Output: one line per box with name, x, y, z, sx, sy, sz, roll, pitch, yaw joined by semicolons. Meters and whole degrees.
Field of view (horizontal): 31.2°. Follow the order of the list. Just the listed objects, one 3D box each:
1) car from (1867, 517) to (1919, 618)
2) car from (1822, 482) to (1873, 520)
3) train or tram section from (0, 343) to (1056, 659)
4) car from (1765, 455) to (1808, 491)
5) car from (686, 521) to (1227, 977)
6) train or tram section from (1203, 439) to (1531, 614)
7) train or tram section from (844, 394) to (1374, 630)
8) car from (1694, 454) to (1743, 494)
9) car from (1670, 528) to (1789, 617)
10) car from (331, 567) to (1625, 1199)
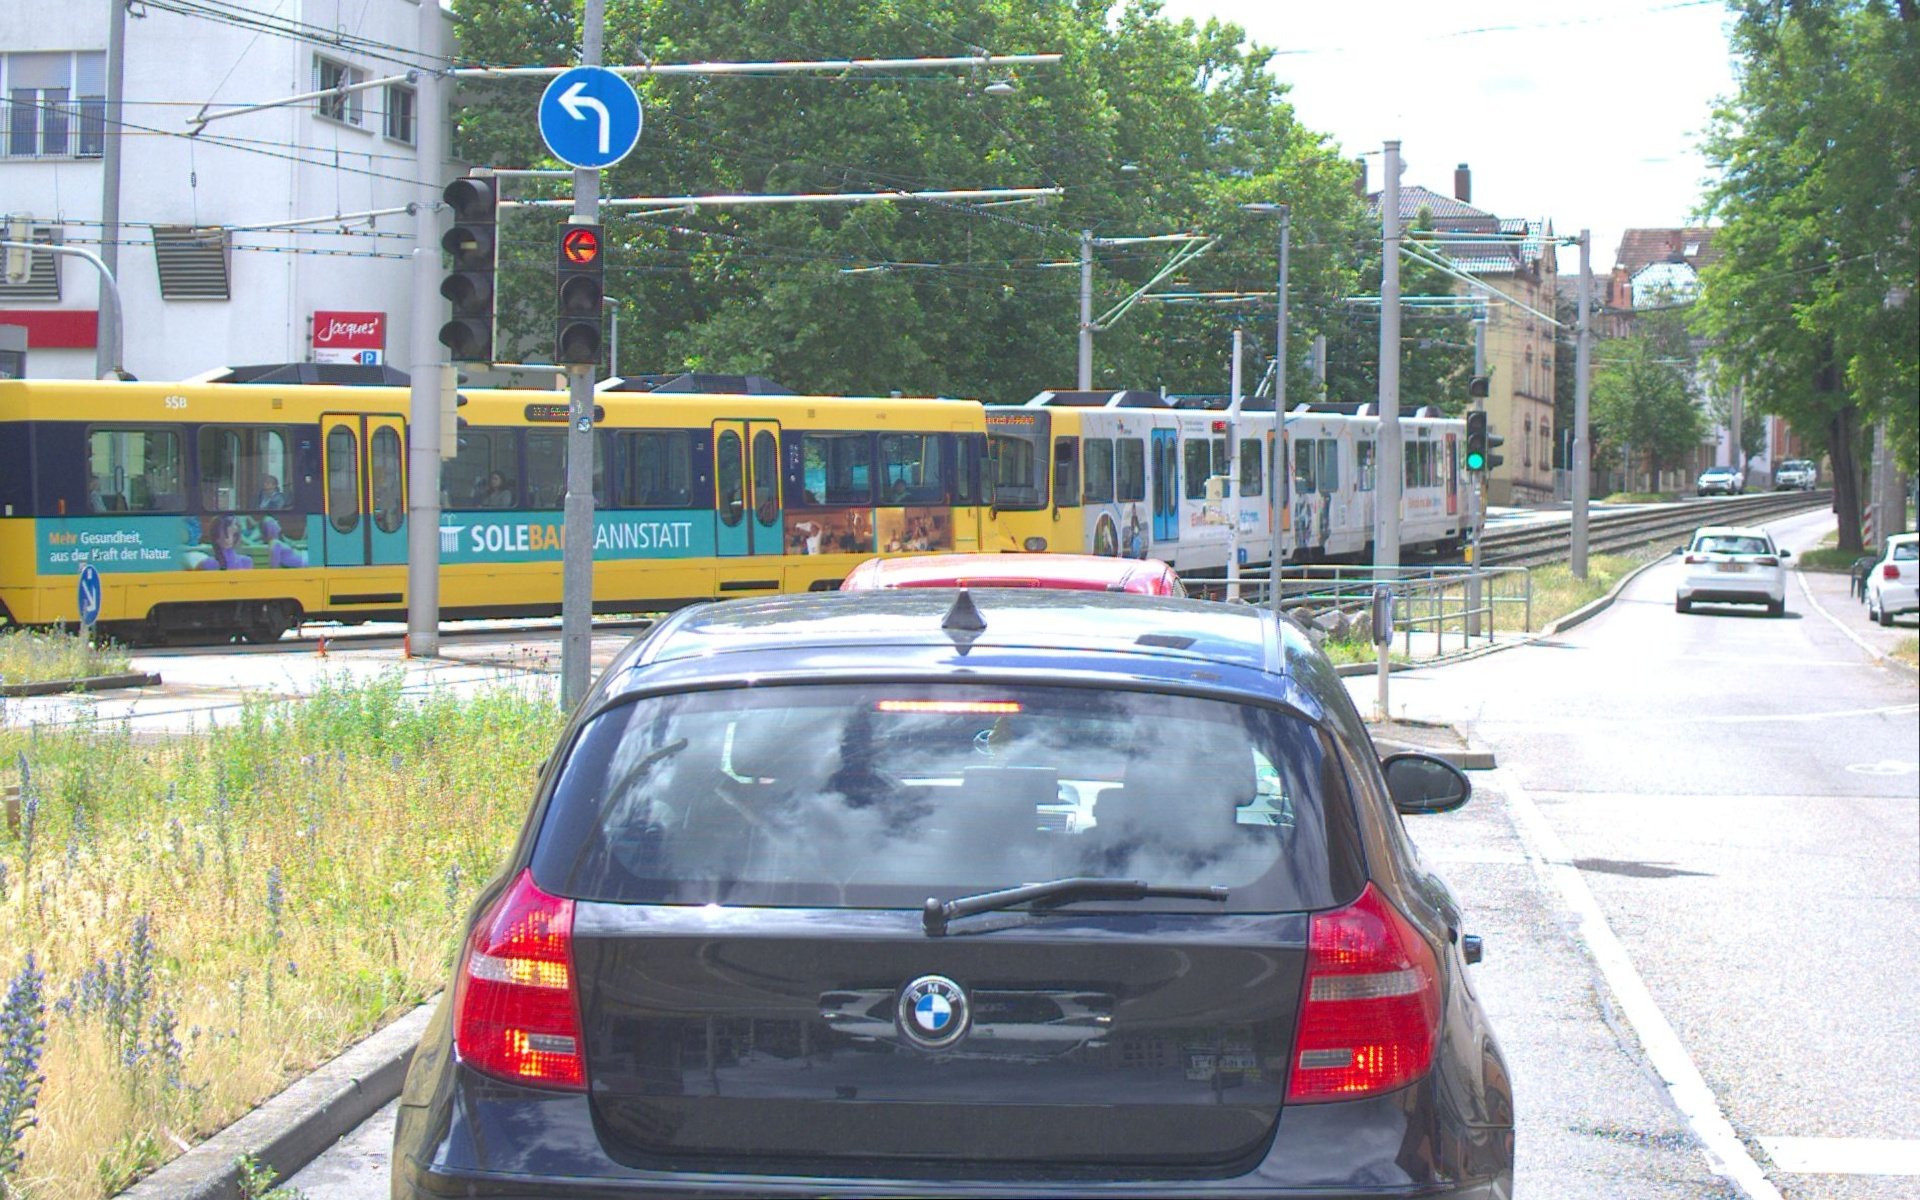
car;15.811;-0.537;56.131;1.788;1.590;3.998;-1;0;13
car;36.836;-4.081;142.656;1.817;1.463;3.997;3;2;17
train or tram section;-6.454;-1.292;50.334;3.758;3.816;20.101;-1;0;41
car;49.798;-7.615;207.078;1.996;2.007;3.996;-1;0;22
car;0.136;0.478;13.134;1.625;1.468;3.999;-1;0;6
train or tram section;10.544;-1.683;85.447;3.753;3.801;20.032;-1;0;19
train or tram section;3.588;-1.525;66.913;3.753;3.866;20.613;-1;0;22
car;41.466;-6.871;187.824;1.996;2.007;3.996;-1;0;22
car;13.255;-0.504;59.379;1.816;1.463;3.999;0;1;10
car;-0.053;0.684;6.537;1.701;1.447;4.000;-1;0;-2
